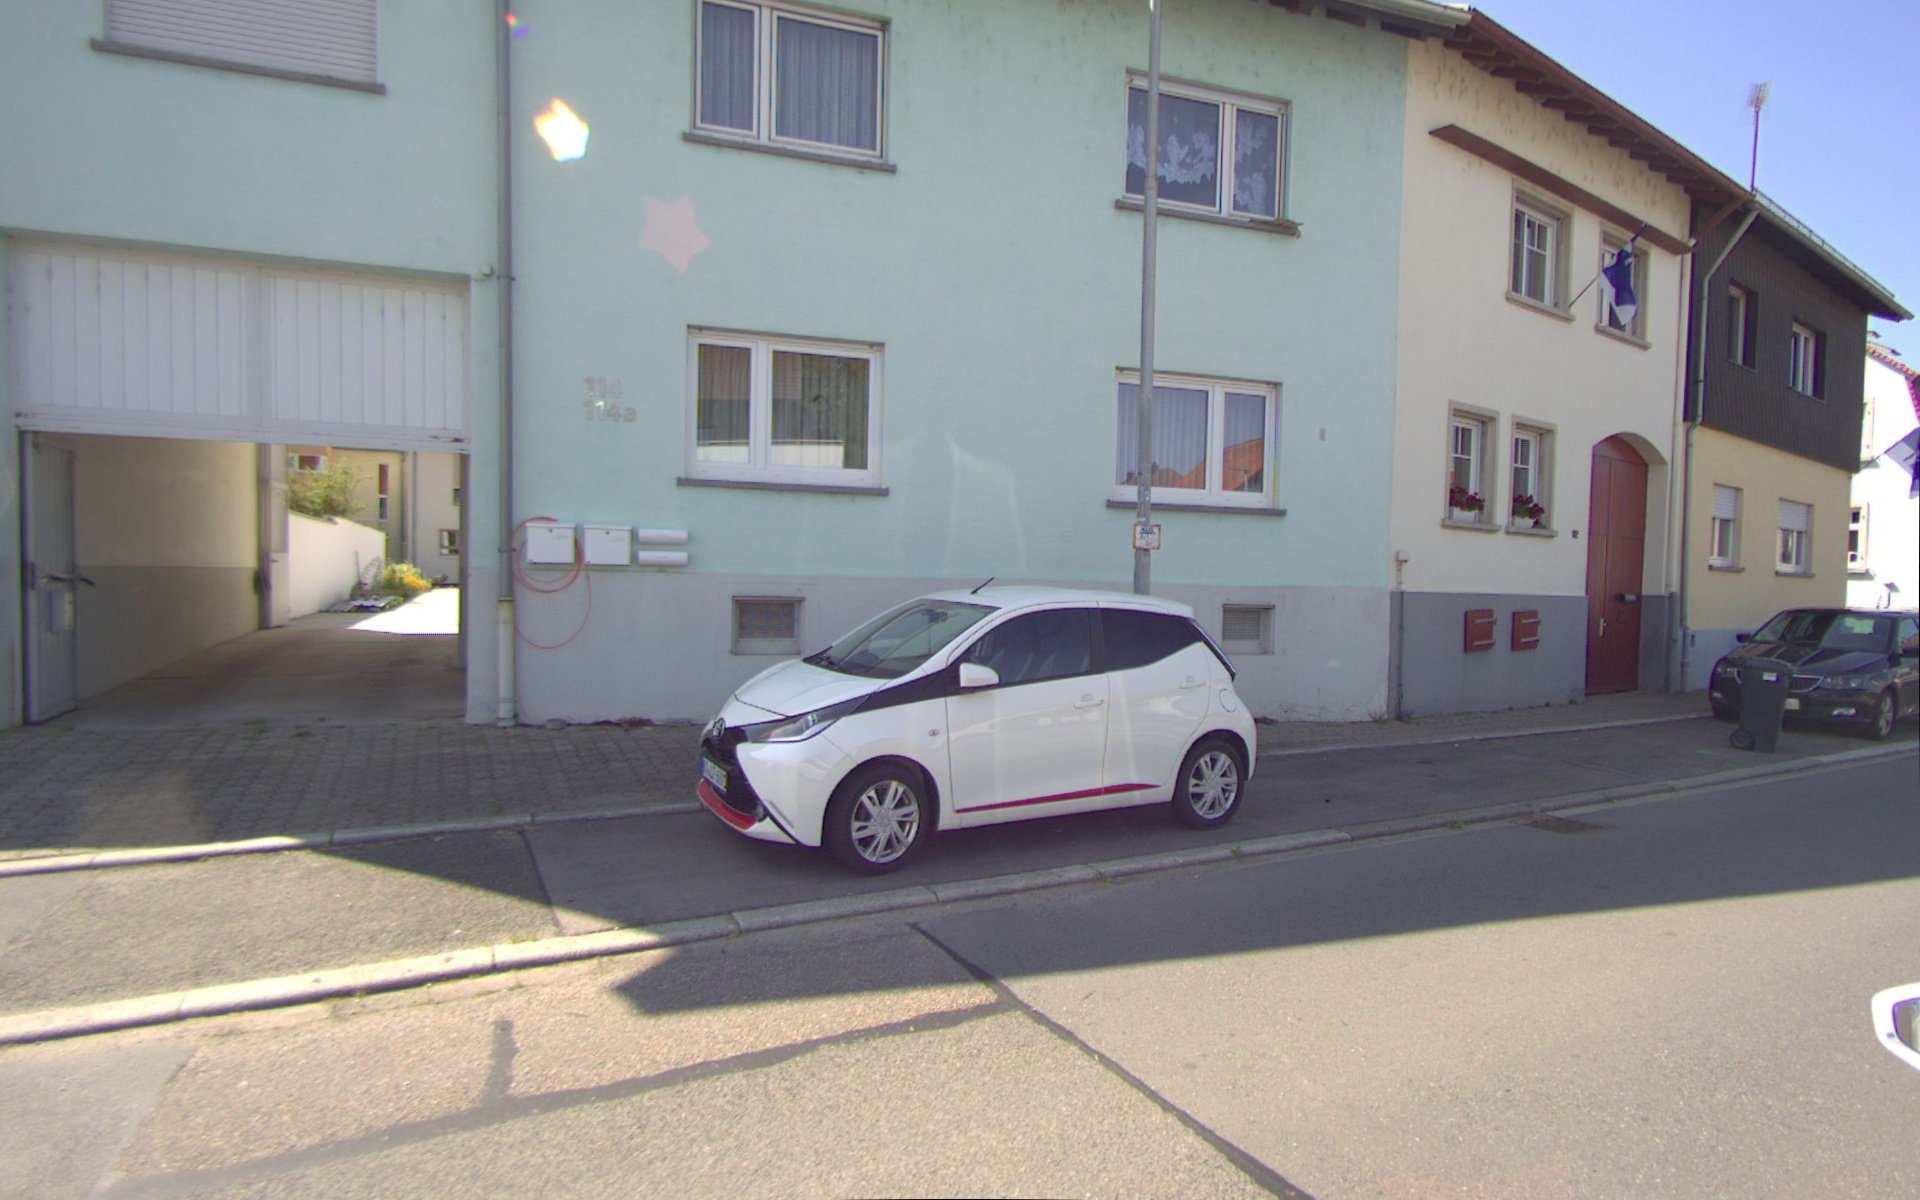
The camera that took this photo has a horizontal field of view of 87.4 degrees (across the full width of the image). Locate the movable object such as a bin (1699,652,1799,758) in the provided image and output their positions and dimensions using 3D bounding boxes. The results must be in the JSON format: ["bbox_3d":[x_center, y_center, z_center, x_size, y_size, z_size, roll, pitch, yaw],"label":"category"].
[{"bbox_3d":[8.001,1.043,10.190,0.818,0.941,0.547,0,5,-38],"label":"movable object such as a bin"}]

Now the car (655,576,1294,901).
[{"bbox_3d":[0.140,0.651,6.230,3.606,1.481,1.676,1,1,-30],"label":"car"}]

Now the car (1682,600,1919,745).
[{"bbox_3d":[10.960,0.814,12.606,3.952,1.456,1.669,1,4,-32],"label":"car"}]

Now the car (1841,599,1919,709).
[{"bbox_3d":[15.310,0.831,15.416,3.740,1.521,1.631,1,4,-32],"label":"car"}]
